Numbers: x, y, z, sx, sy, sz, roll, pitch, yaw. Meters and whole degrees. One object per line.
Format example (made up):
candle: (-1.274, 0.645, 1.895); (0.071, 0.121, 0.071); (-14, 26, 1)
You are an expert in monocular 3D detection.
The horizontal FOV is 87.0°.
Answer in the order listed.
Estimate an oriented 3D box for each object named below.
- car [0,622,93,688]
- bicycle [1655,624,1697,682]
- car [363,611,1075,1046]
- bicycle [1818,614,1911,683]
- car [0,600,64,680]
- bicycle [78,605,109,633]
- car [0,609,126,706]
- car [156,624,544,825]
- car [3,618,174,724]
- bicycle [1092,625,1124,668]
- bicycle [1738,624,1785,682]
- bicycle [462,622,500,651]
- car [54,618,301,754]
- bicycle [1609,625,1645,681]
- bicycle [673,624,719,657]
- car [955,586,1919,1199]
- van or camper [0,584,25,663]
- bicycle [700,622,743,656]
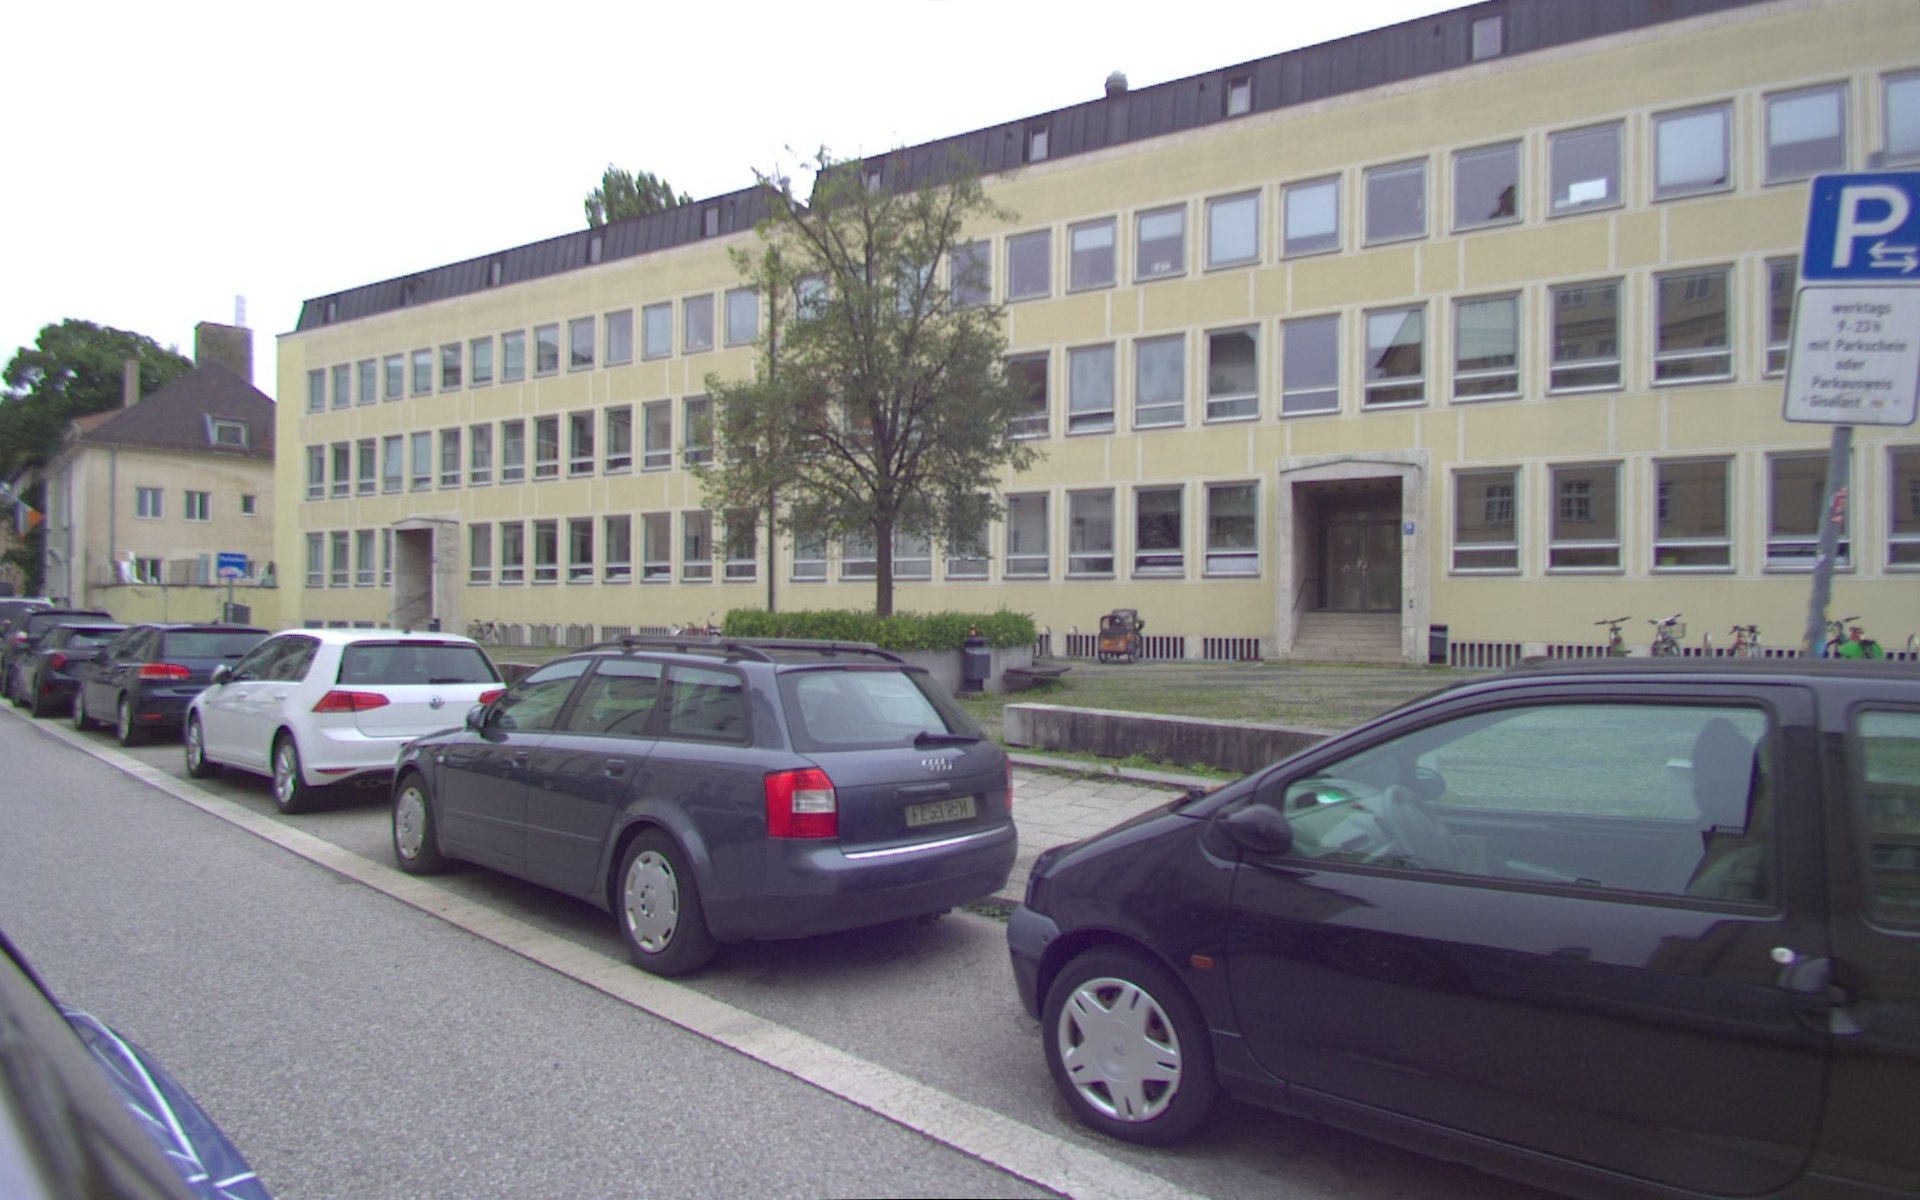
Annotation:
car: (-21.719, 1.248, 23.608); (3.708, 1.417, 1.785); (-1, -4, 42)
bicycle: (13.276, 0.962, 18.789); (0.412, 0.952, 1.846); (-1, 0, 29)
car: (-1.595, 0.849, 5.557); (4.273, 1.506, 1.614); (-1, -3, 41)
bicycle: (15.889, 0.822, 17.833); (0.698, 1.104, 1.835); (-1, 0, 25)
car: (-25.498, 1.055, 26.794); (4.958, 1.975, 1.895); (-1, -3, 40)
bicycle: (-38.543, 0.840, 45.018); (1.868, 1.243, 0.793); (0, -1, 42)
car: (-17.920, 1.068, 19.912); (4.140, 1.702, 1.696); (-1, -3, 42)
car: (-5.756, 0.954, 9.331); (4.290, 1.433, 1.723); (-1, -3, 40)
car: (-14.129, 1.067, 16.346); (3.819, 1.506, 1.613); (-1, -2, 42)
bicycle: (3.581, 1.114, 24.411); (0.499, 0.952, 1.600); (-1, 0, 18)
bicycle: (14.482, 0.935, 18.304); (0.412, 0.952, 1.398); (-1, 0, 28)
bicycle: (-16.989, 1.288, 35.907); (0.410, 0.952, 1.405); (-1, 0, 13)
car: (-10.264, 1.010, 13.174); (4.096, 1.506, 1.614); (-1, -3, 39)
bicycle: (12.674, 0.979, 19.249); (0.412, 0.952, 1.938); (-1, 0, 29)
bicycle: (-8.231, 1.252, 31.607); (0.414, 0.952, 1.393); (-1, 0, 39)
car: (1.878, 0.762, 2.730); (3.601, 1.506, 1.614); (-1, -3, 40)
van or camper: (-34.885, 0.809, 35.778); (5.563, 2.671, 2.267); (-1, -3, 44)
bicycle: (-7.164, 1.174, 30.429); (0.412, 0.952, 1.397); (-1, 0, 29)
